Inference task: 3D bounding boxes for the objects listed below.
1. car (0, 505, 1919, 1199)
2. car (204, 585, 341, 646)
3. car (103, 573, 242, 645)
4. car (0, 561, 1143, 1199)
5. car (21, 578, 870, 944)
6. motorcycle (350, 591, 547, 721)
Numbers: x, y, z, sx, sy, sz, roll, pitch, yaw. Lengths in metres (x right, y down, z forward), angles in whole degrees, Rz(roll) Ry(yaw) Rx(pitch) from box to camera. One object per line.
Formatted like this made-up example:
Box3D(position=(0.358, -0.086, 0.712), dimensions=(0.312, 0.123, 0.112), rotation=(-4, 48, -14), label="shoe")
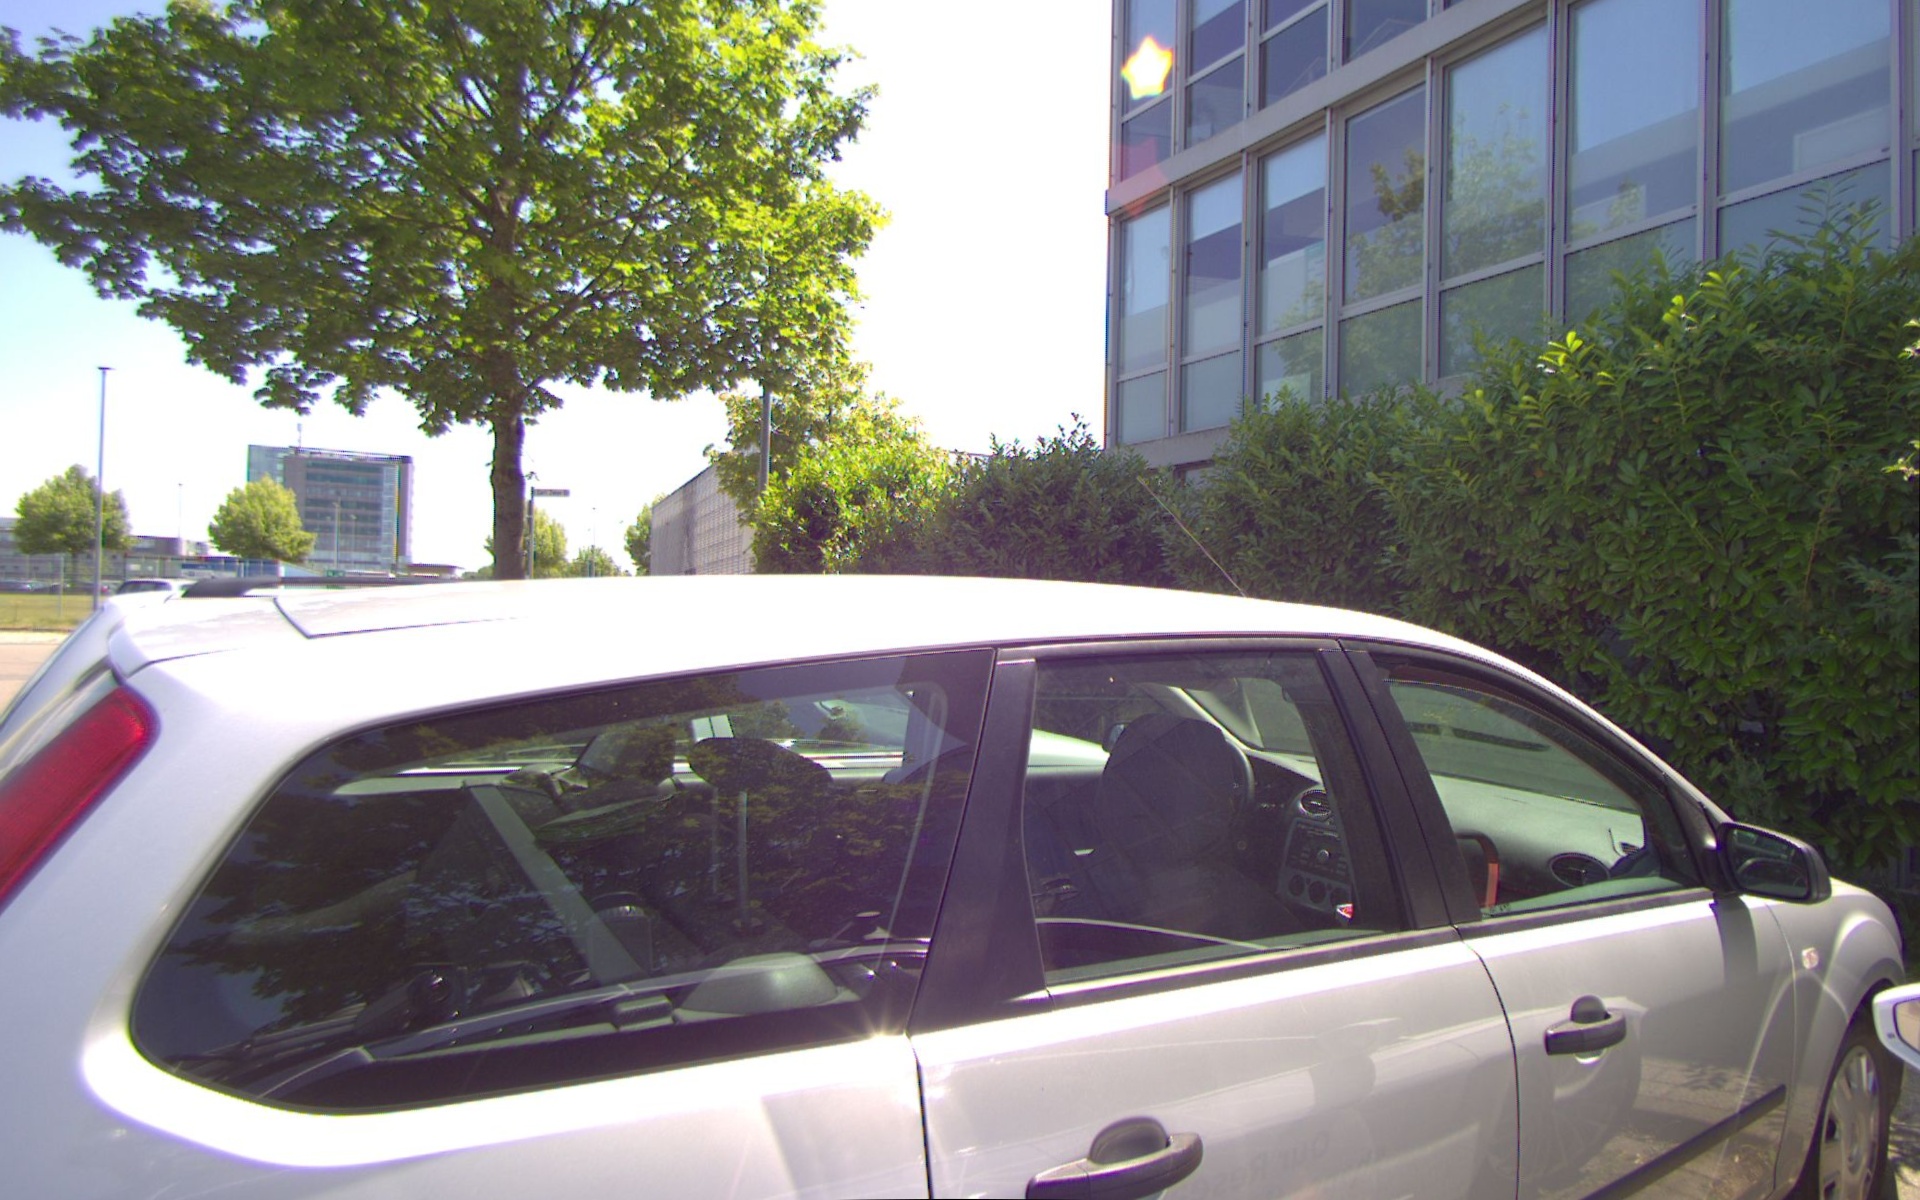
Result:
Box3D(position=(0.353, 0.723, 2.129), dimensions=(4.299, 1.499, 1.710), rotation=(1, 0, -31), label="car")
Box3D(position=(-18.751, 0.401, 27.603), dimensions=(1.624, 1.542, 3.991), rotation=(1, 0, -11), label="car")
Box3D(position=(-21.172, 0.231, 27.186), dimensions=(1.745, 1.761, 3.982), rotation=(1, 0, -20), label="car")
Box3D(position=(-1.299, 0.689, 3.745), dimensions=(3.851, 1.499, 1.637), rotation=(1, 0, -34), label="car")
Box3D(position=(-2.607, 0.680, 5.801), dimensions=(3.851, 1.468, 1.637), rotation=(1, 0, -34), label="car")
Box3D(position=(-5.872, 0.617, 11.599), dimensions=(1.969, 1.408, 0.480), rotation=(1, 0, -34), label="motorcycle")
